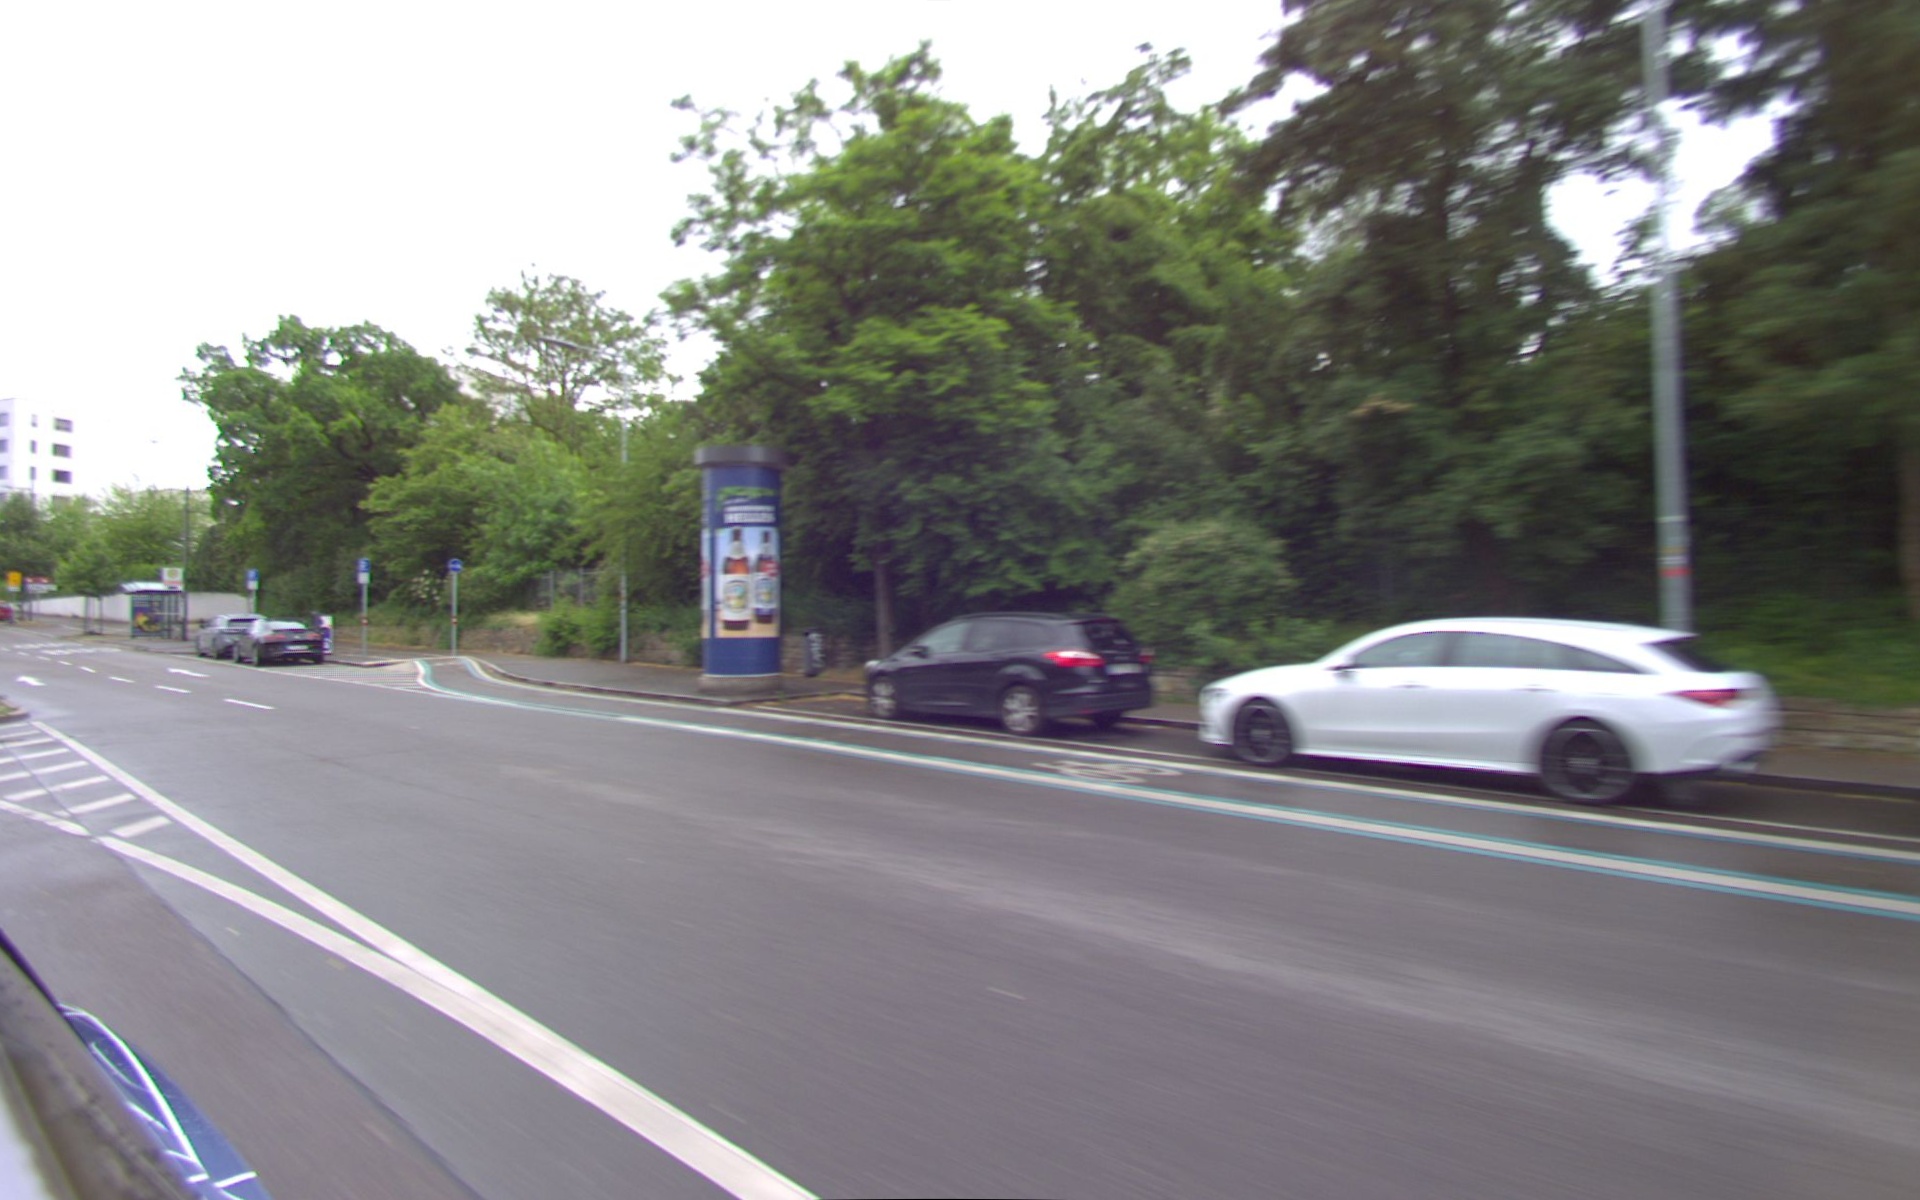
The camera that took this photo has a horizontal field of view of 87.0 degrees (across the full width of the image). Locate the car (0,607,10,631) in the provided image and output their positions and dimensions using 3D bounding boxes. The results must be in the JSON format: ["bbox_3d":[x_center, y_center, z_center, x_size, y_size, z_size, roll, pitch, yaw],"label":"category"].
[{"bbox_3d":[-68.732,1.283,71.429,4.208,1.599,1.650,1,0,36],"label":"car"}]

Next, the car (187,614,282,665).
[{"bbox_3d":[-25.877,1.346,36.019,4.929,1.601,1.821,0,1,43],"label":"car"}]

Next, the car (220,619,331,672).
[{"bbox_3d":[-21.562,1.370,31.793,4.783,1.425,1.885,0,1,43],"label":"car"}]

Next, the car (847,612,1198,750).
[{"bbox_3d":[0.628,0.922,13.153,1.728,1.456,4.591,0,-1,-44],"label":"car"}]

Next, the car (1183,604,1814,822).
[{"bbox_3d":[4.510,0.814,9.090,4.709,1.471,1.699,-2,-1,44],"label":"car"}]
